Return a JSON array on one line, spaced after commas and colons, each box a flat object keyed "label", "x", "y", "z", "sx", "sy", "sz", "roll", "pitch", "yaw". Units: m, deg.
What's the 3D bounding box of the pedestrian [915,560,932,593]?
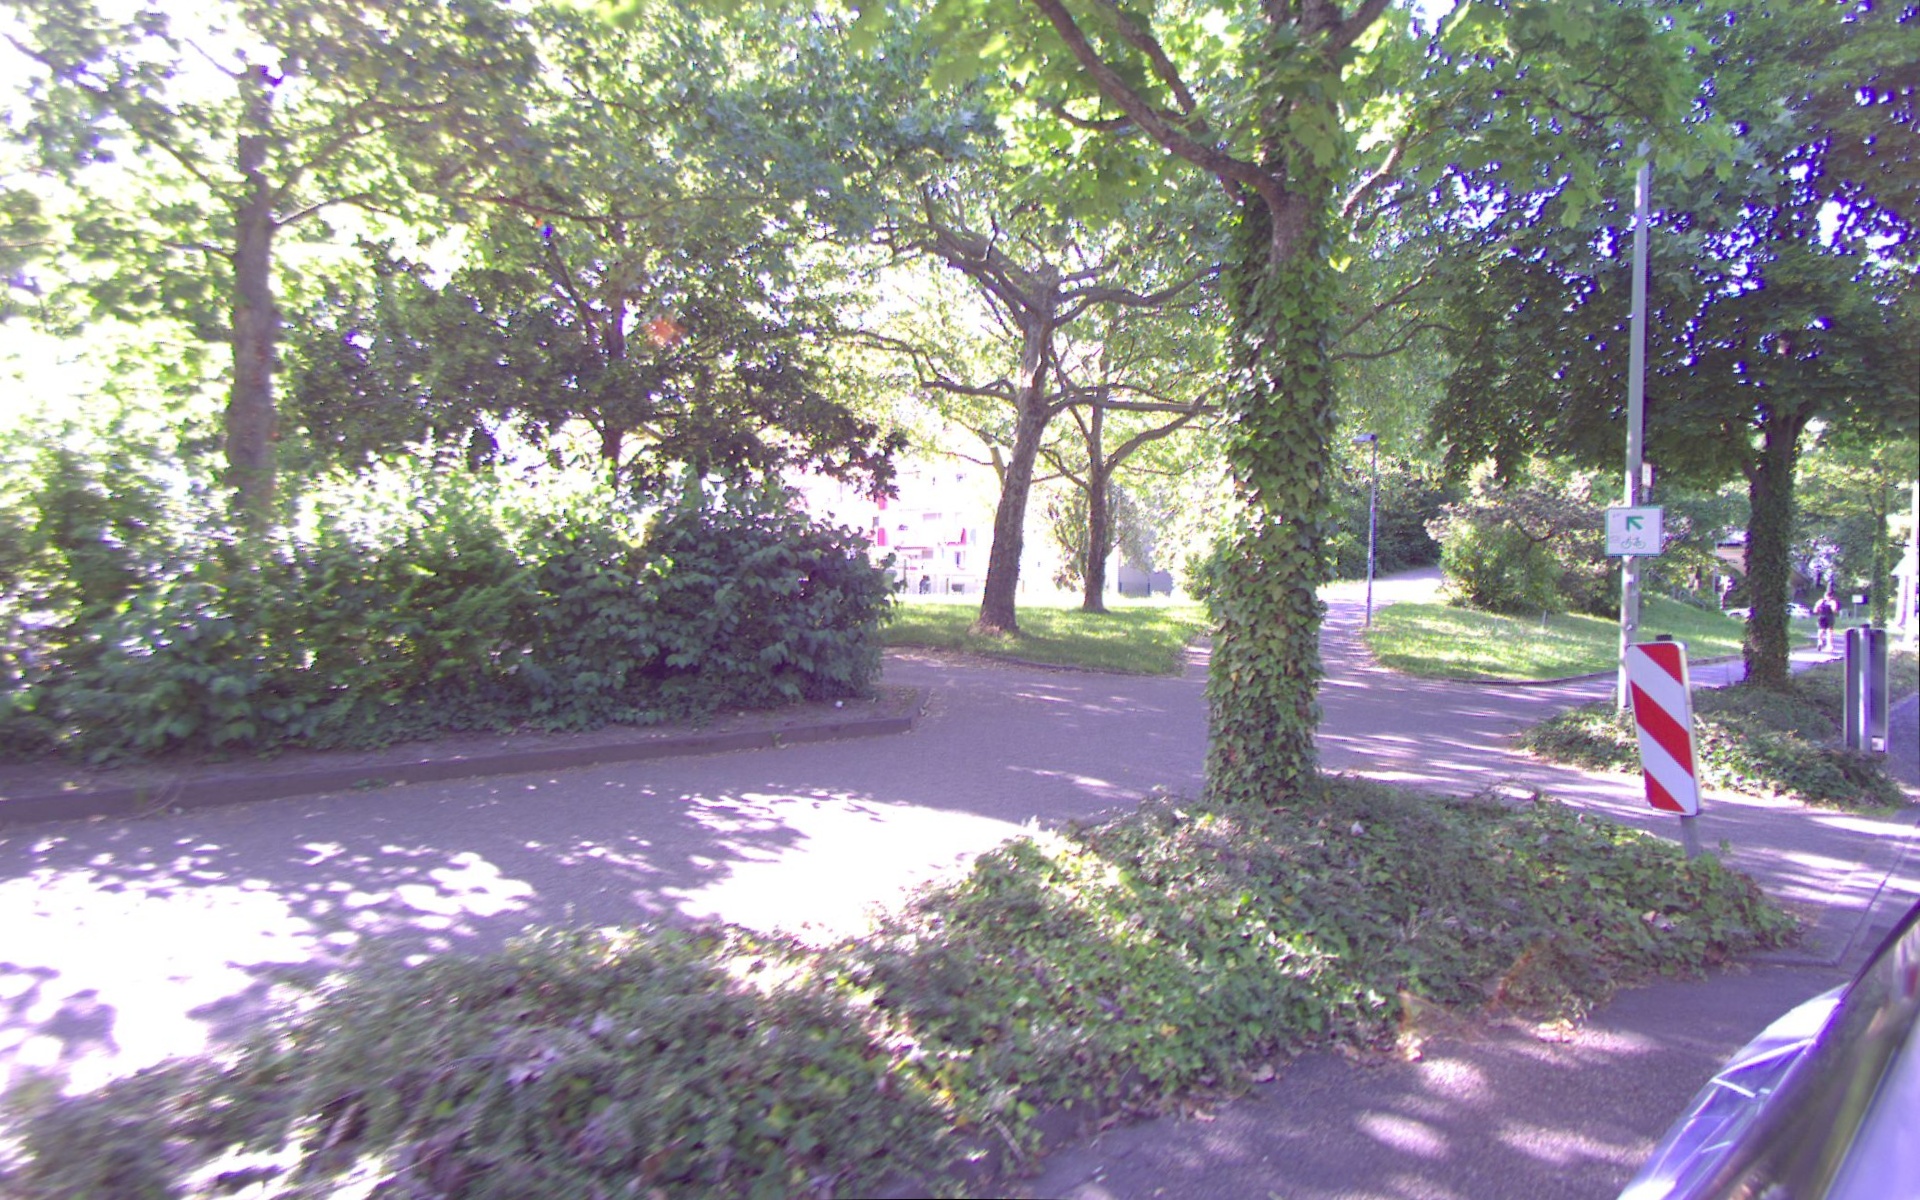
[{"label": "pedestrian", "x": -1.790, "y": -1.163, "z": 49.677, "sx": 0.618, "sy": 1.608, "sz": 0.676, "roll": 0, "pitch": 0, "yaw": 18}]

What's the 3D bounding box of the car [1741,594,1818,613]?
[{"label": "car", "x": 59.350, "y": 0.244, "z": 73.327, "sx": 1.726, "sy": 1.282, "sz": 4.086, "roll": 0, "pitch": 0, "yaw": -40}]

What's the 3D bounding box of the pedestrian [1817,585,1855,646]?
[{"label": "pedestrian", "x": 27.045, "y": 0.466, "z": 31.237, "sx": 0.659, "sy": 1.855, "sz": 0.792, "roll": 1, "pitch": 1, "yaw": -41}]
